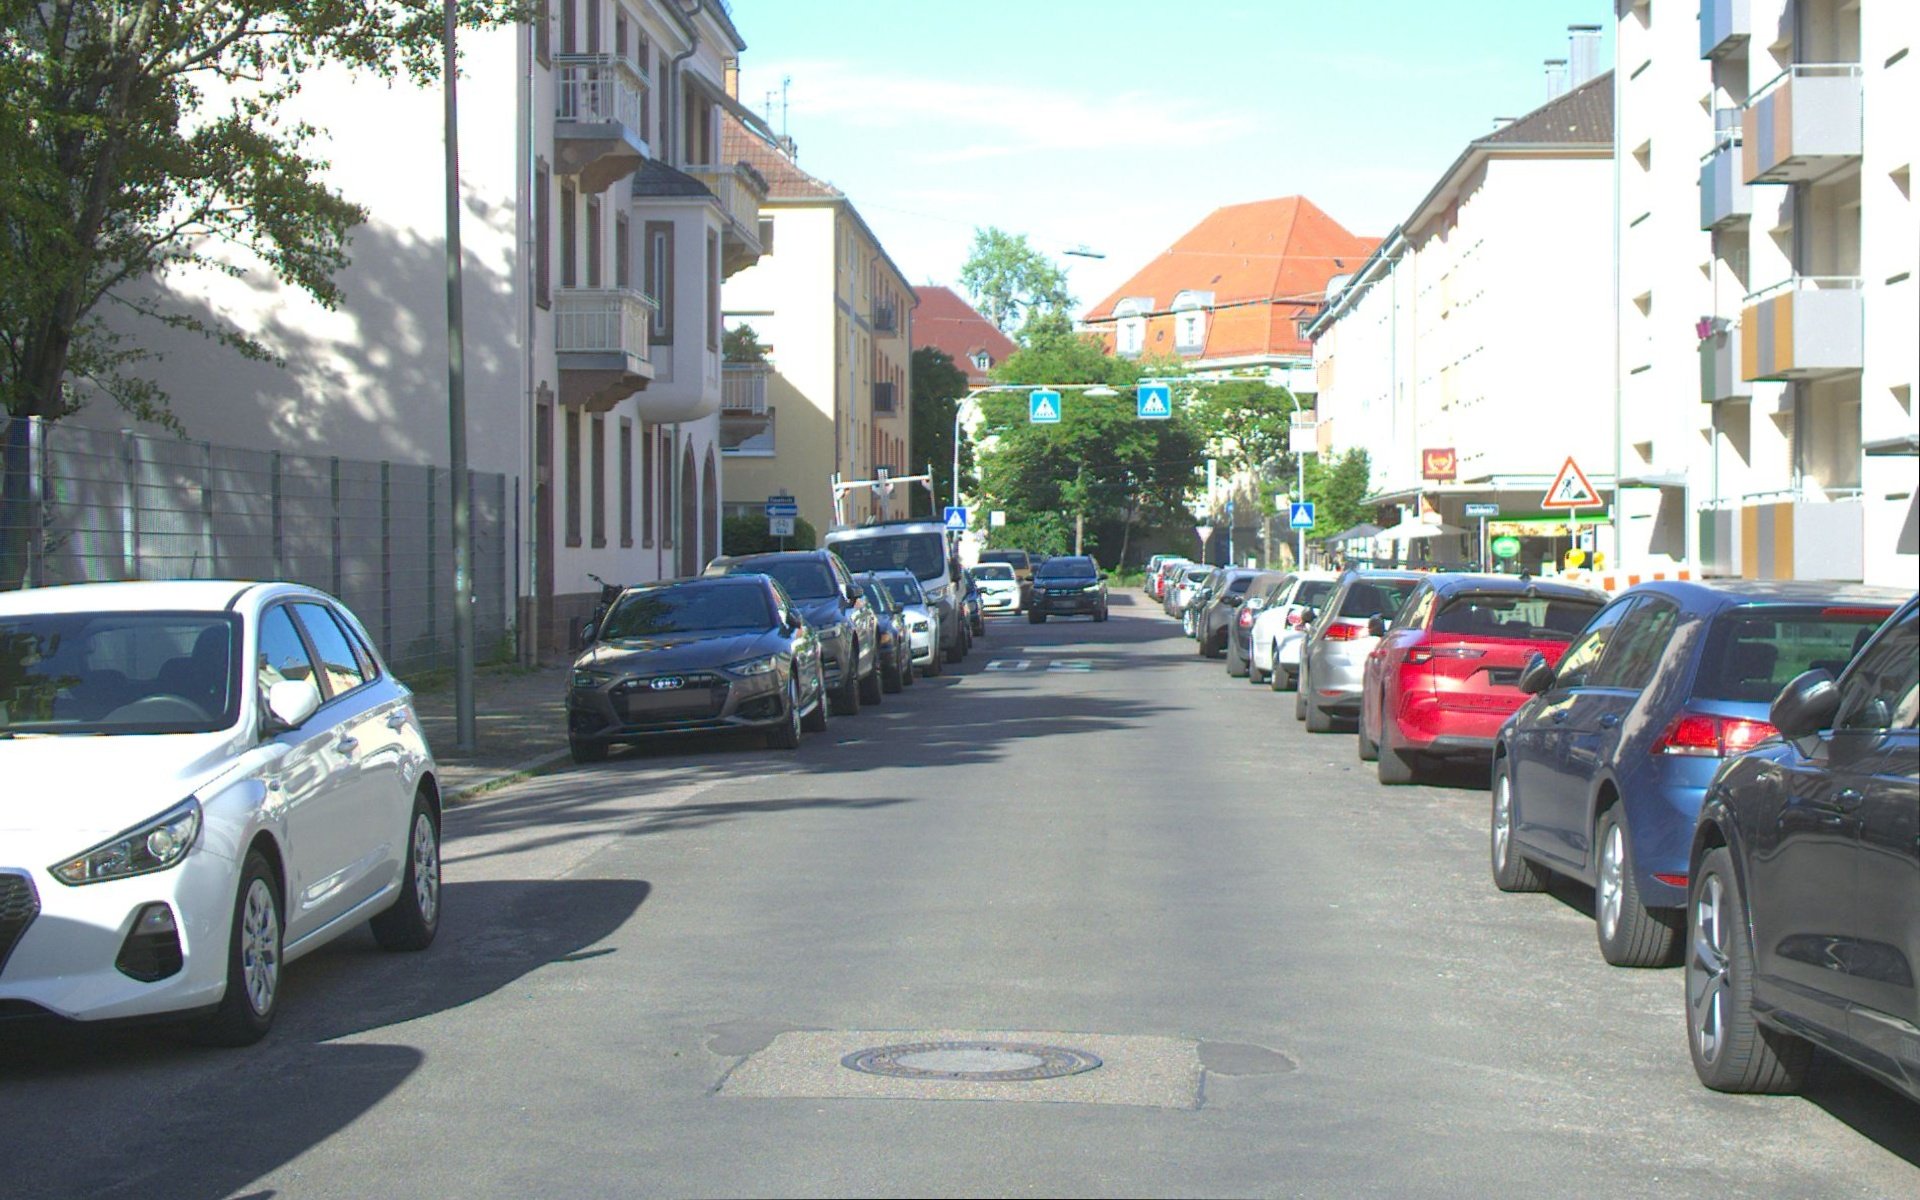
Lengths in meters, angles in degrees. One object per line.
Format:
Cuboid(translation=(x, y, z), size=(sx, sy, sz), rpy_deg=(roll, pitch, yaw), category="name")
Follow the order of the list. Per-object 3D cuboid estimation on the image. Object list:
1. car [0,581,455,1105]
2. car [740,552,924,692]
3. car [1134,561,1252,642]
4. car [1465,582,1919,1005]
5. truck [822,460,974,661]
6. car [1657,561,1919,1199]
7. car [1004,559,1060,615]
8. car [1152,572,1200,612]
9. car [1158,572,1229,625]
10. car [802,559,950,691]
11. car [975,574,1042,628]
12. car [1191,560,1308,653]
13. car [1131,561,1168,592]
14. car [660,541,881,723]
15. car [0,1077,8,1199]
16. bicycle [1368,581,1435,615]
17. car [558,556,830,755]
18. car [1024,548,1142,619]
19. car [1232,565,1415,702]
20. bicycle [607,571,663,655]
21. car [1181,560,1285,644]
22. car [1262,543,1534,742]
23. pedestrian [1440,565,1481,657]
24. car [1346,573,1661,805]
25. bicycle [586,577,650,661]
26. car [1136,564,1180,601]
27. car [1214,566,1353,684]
Cuboid(translation=(-3.005, 0.690, 11.714), size=(1.794, 1.440, 4.119), rpy_deg=(-2, 0, 2), category="car")
Cuboid(translation=(-1.474, 0.241, 41.155), size=(1.792, 1.557, 4.459), rpy_deg=(1, 0, 3), category="car")
Cuboid(translation=(4.581, 0.025, 68.313), size=(1.853, 1.518, 4.777), rpy_deg=(1, 0, -2), category="car")
Cuboid(translation=(3.274, 0.678, 14.199), size=(1.752, 1.476, 4.080), rpy_deg=(1, 0, 0), category="car")
Cuboid(translation=(-0.960, -0.600, 54.564), size=(2.259, 2.976, 7.276), rpy_deg=(0, 0, -1), category="truck")
Cuboid(translation=(3.009, 0.698, 8.322), size=(1.752, 1.553, 4.255), rpy_deg=(1, 0, 0), category="car")
Cuboid(translation=(2.352, -0.427, 111.233), size=(1.697, 1.773, 4.098), rpy_deg=(0, 1, 3), category="car")
Cuboid(translation=(7.954, -0.302, 126.847), size=(1.638, 1.436, 3.419), rpy_deg=(0, 1, 2), category="car")
Cuboid(translation=(6.438, -0.063, 95.188), size=(1.845, 1.436, 3.419), rpy_deg=(0, 1, 2), category="car")
Cuboid(translation=(-1.116, 0.299, 47.649), size=(1.792, 1.535, 4.642), rpy_deg=(-5, 1, 0), category="car")
Cuboid(translation=(1.434, 0.012, 100.116), size=(1.792, 1.475, 4.098), rpy_deg=(-1, 1, 3), category="car")
Cuboid(translation=(4.744, 0.083, 56.804), size=(1.792, 1.466, 4.338), rpy_deg=(0, 1, 3), category="car")
Cuboid(translation=(8.906, -1.107, 161.383), size=(1.638, 1.436, 3.419), rpy_deg=(0, 1, 2), category="car")
Cuboid(translation=(-1.857, 0.289, 35.099), size=(1.878, 1.658, 4.931), rpy_deg=(-2, 0, 1), category="car")
Cuboid(translation=(-3.197, 0.720, 6.642), size=(1.564, 1.637, 3.615), rpy_deg=(-3, 0, 1), category="car")
Cuboid(translation=(12.679, -0.055, 98.708), size=(1.806, 0.964, 0.674), rpy_deg=(0, 0, -8), category="bicycle")
Cuboid(translation=(-2.122, 0.408, 28.567), size=(1.794, 1.466, 4.502), rpy_deg=(-2, 0, 1), category="car")
Cuboid(translation=(2.967, -0.416, 82.194), size=(1.823, 1.628, 4.253), rpy_deg=(0, 1, 16), category="car")
Cuboid(translation=(4.441, 0.385, 42.475), size=(1.685, 1.458, 3.820), rpy_deg=(6, 0, -1), category="car")
Cuboid(translation=(-5.152, 0.191, 54.537), size=(0.569, 1.275, 2.340), rpy_deg=(0, 1, 2), category="bicycle")
Cuboid(translation=(4.933, 0.038, 62.529), size=(1.645, 1.455, 3.939), rpy_deg=(1, 0, 1), category="car")
Cuboid(translation=(3.845, 0.338, 30.925), size=(1.898, 1.616, 4.602), rpy_deg=(1, 0, 1), category="car")
Cuboid(translation=(7.893, 0.170, 54.200), size=(0.575, 1.428, 0.471), rpy_deg=(-1, 1, 4), category="pedestrian")
Cuboid(translation=(3.646, 0.538, 23.722), size=(1.752, 1.439, 4.522), rpy_deg=(0, 0, 4), category="car")
Cuboid(translation=(-5.117, 0.266, 51.608), size=(0.629, 1.199, 2.340), rpy_deg=(0, 1, 2), category="bicycle")
Cuboid(translation=(7.932, -0.708, 137.808), size=(1.638, 1.436, 3.419), rpy_deg=(0, 1, 2), category="car")
Cuboid(translation=(4.405, 0.308, 47.246), size=(1.688, 1.462, 3.582), rpy_deg=(3, 1, 3), category="car")
